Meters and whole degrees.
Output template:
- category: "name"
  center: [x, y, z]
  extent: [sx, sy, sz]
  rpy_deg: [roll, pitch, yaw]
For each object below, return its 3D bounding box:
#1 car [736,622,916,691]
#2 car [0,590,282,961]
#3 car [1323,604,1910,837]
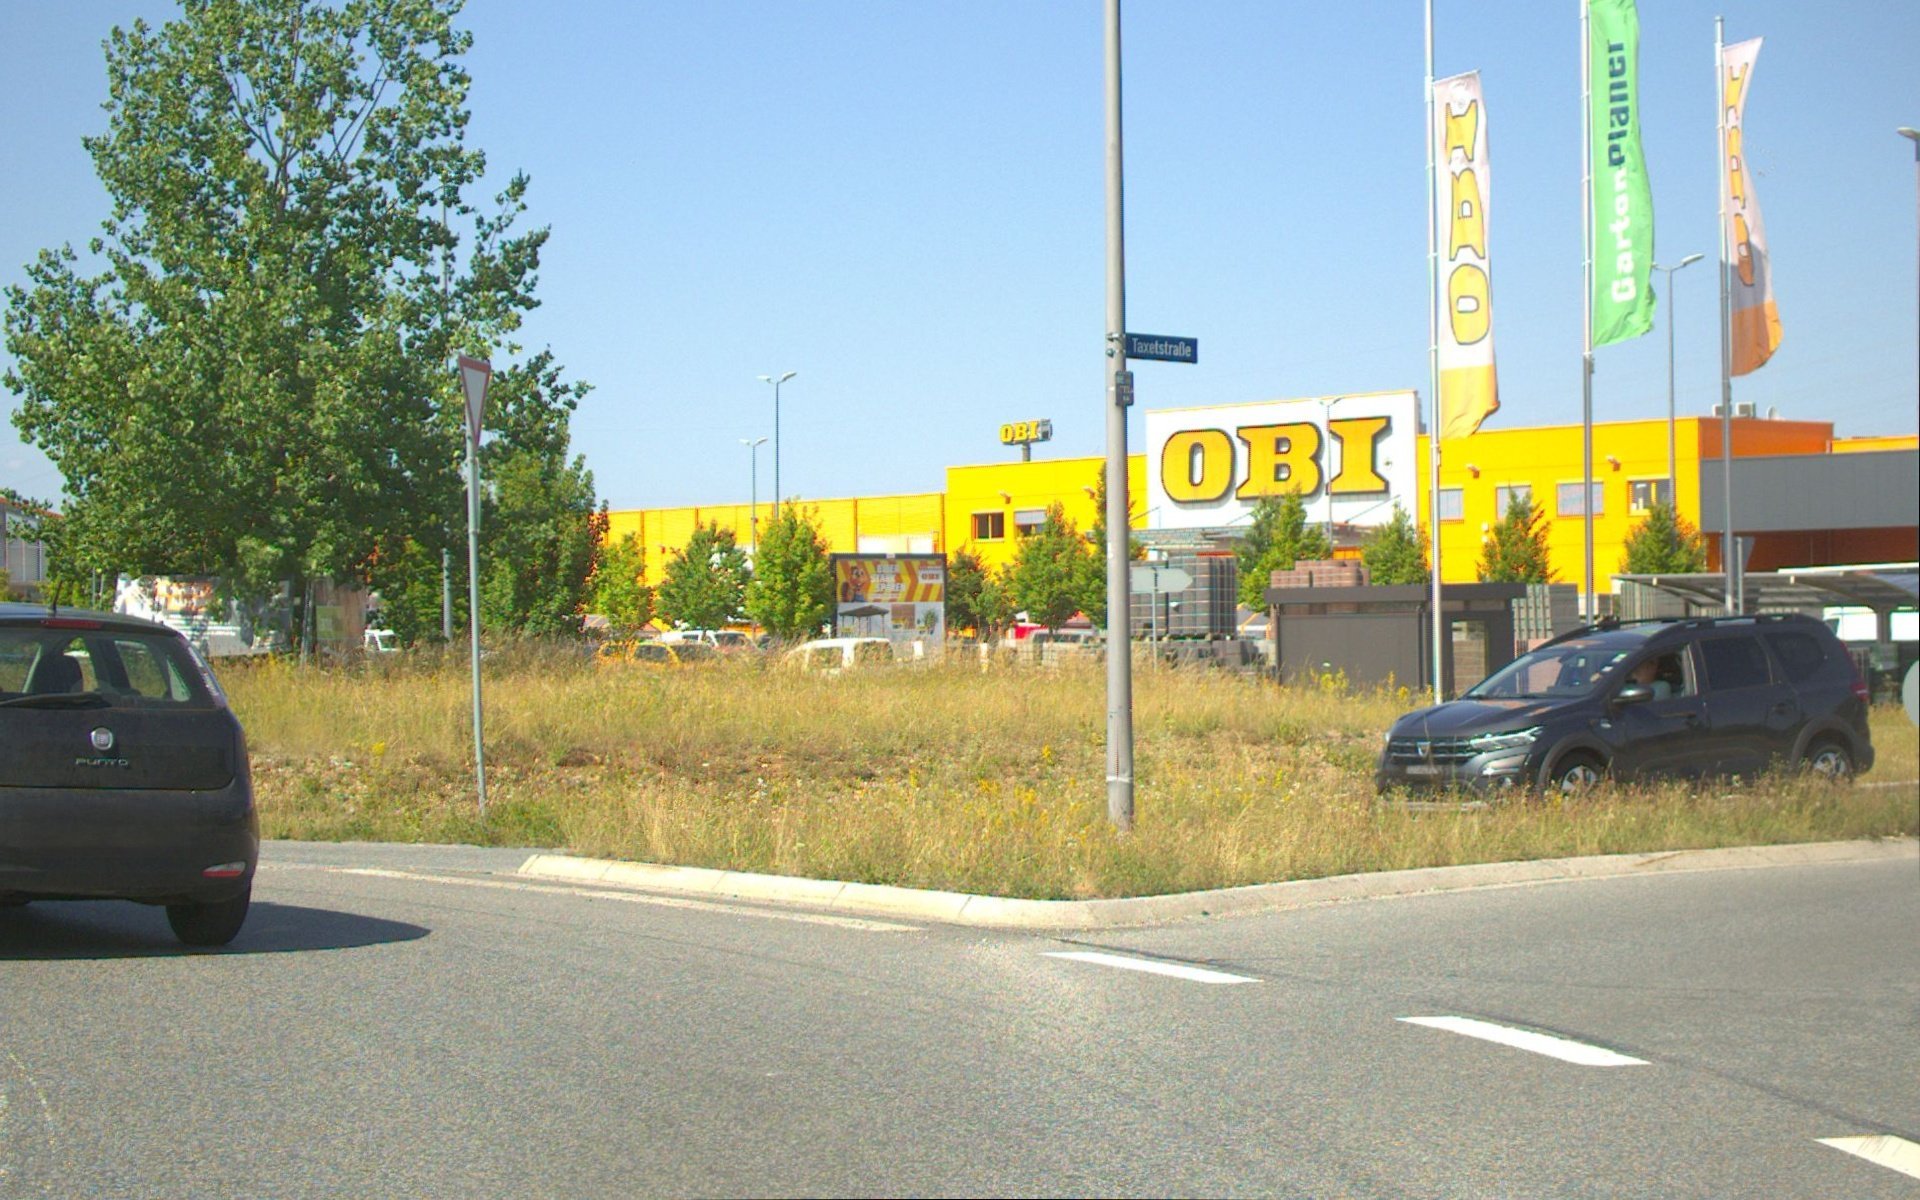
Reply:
- category: "car"
  center: [-3.259, 1.366, 83.323]
  extent: [3.996, 1.612, 1.995]
  rpy_deg: [-1, -1, 38]
- category: "car"
  center: [-4.630, 0.712, 15.566]
  extent: [1.639, 1.482, 3.904]
  rpy_deg: [1, -1, -34]
- category: "car"
  center: [5.294, 0.921, 27.478]
  extent: [4.613, 1.700, 1.956]
  rpy_deg: [0, -2, -36]
